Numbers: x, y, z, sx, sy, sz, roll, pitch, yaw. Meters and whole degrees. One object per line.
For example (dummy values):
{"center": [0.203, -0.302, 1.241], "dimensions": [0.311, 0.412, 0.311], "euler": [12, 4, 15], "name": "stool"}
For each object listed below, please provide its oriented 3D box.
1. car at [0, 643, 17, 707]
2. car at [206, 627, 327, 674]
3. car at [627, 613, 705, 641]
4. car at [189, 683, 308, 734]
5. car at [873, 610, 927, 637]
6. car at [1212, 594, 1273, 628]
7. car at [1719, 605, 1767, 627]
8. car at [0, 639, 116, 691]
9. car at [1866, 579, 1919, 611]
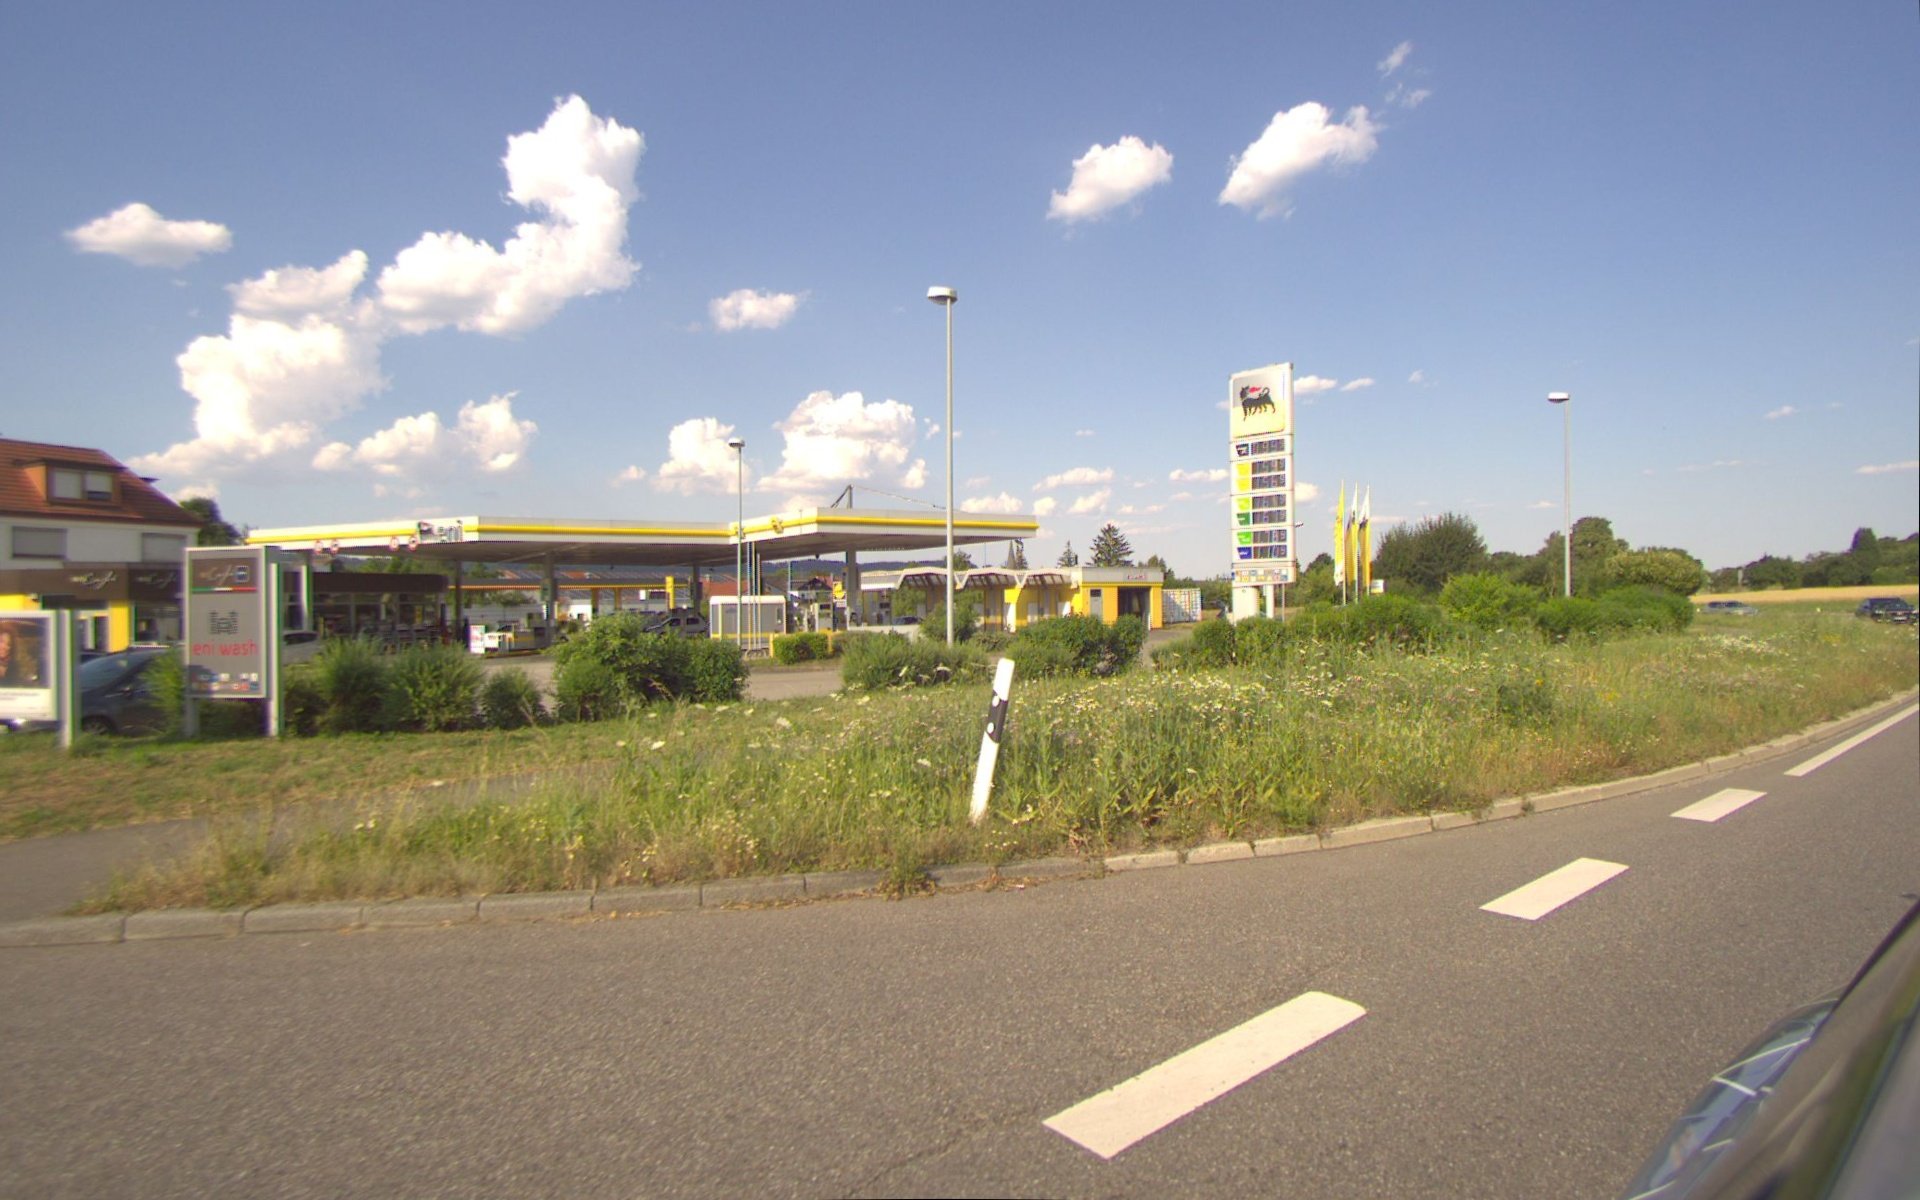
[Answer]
{"center": [-19.307, 1.439, 17.706], "dimensions": [1.577, 1.217, 3.899], "euler": [-2, -1, 14], "name": "car"}
{"center": [-27.822, 1.994, 40.749], "dimensions": [1.729, 1.740, 3.881], "euler": [-2, -1, 12], "name": "car"}
{"center": [-17.847, 1.645, 61.470], "dimensions": [4.258, 1.558, 1.804], "euler": [-1, -2, -32], "name": "car"}
{"center": [-8.161, 1.234, 11.646], "dimensions": [0.595, 0.455, 1.082], "euler": [-3, -1, 1], "name": "car"}
{"center": [-3.806, 1.479, 63.561], "dimensions": [1.767, 1.558, 4.347], "euler": [-1, -1, -27], "name": "car"}
{"center": [19.766, 0.783, 70.889], "dimensions": [3.663, 2.141, 1.898], "euler": [-4, -2, 34], "name": "car"}
{"center": [58.170, 1.169, 75.230], "dimensions": [1.497, 1.525, 2.747], "euler": [-3, -1, 5], "name": "car"}
{"center": [-33.281, 2.341, 36.245], "dimensions": [1.825, 1.655, 4.398], "euler": [-3, -1, 17], "name": "car"}
{"center": [51.309, -0.295, 55.178], "dimensions": [1.760, 1.634, 4.502], "euler": [-4, -1, 28], "name": "car"}
